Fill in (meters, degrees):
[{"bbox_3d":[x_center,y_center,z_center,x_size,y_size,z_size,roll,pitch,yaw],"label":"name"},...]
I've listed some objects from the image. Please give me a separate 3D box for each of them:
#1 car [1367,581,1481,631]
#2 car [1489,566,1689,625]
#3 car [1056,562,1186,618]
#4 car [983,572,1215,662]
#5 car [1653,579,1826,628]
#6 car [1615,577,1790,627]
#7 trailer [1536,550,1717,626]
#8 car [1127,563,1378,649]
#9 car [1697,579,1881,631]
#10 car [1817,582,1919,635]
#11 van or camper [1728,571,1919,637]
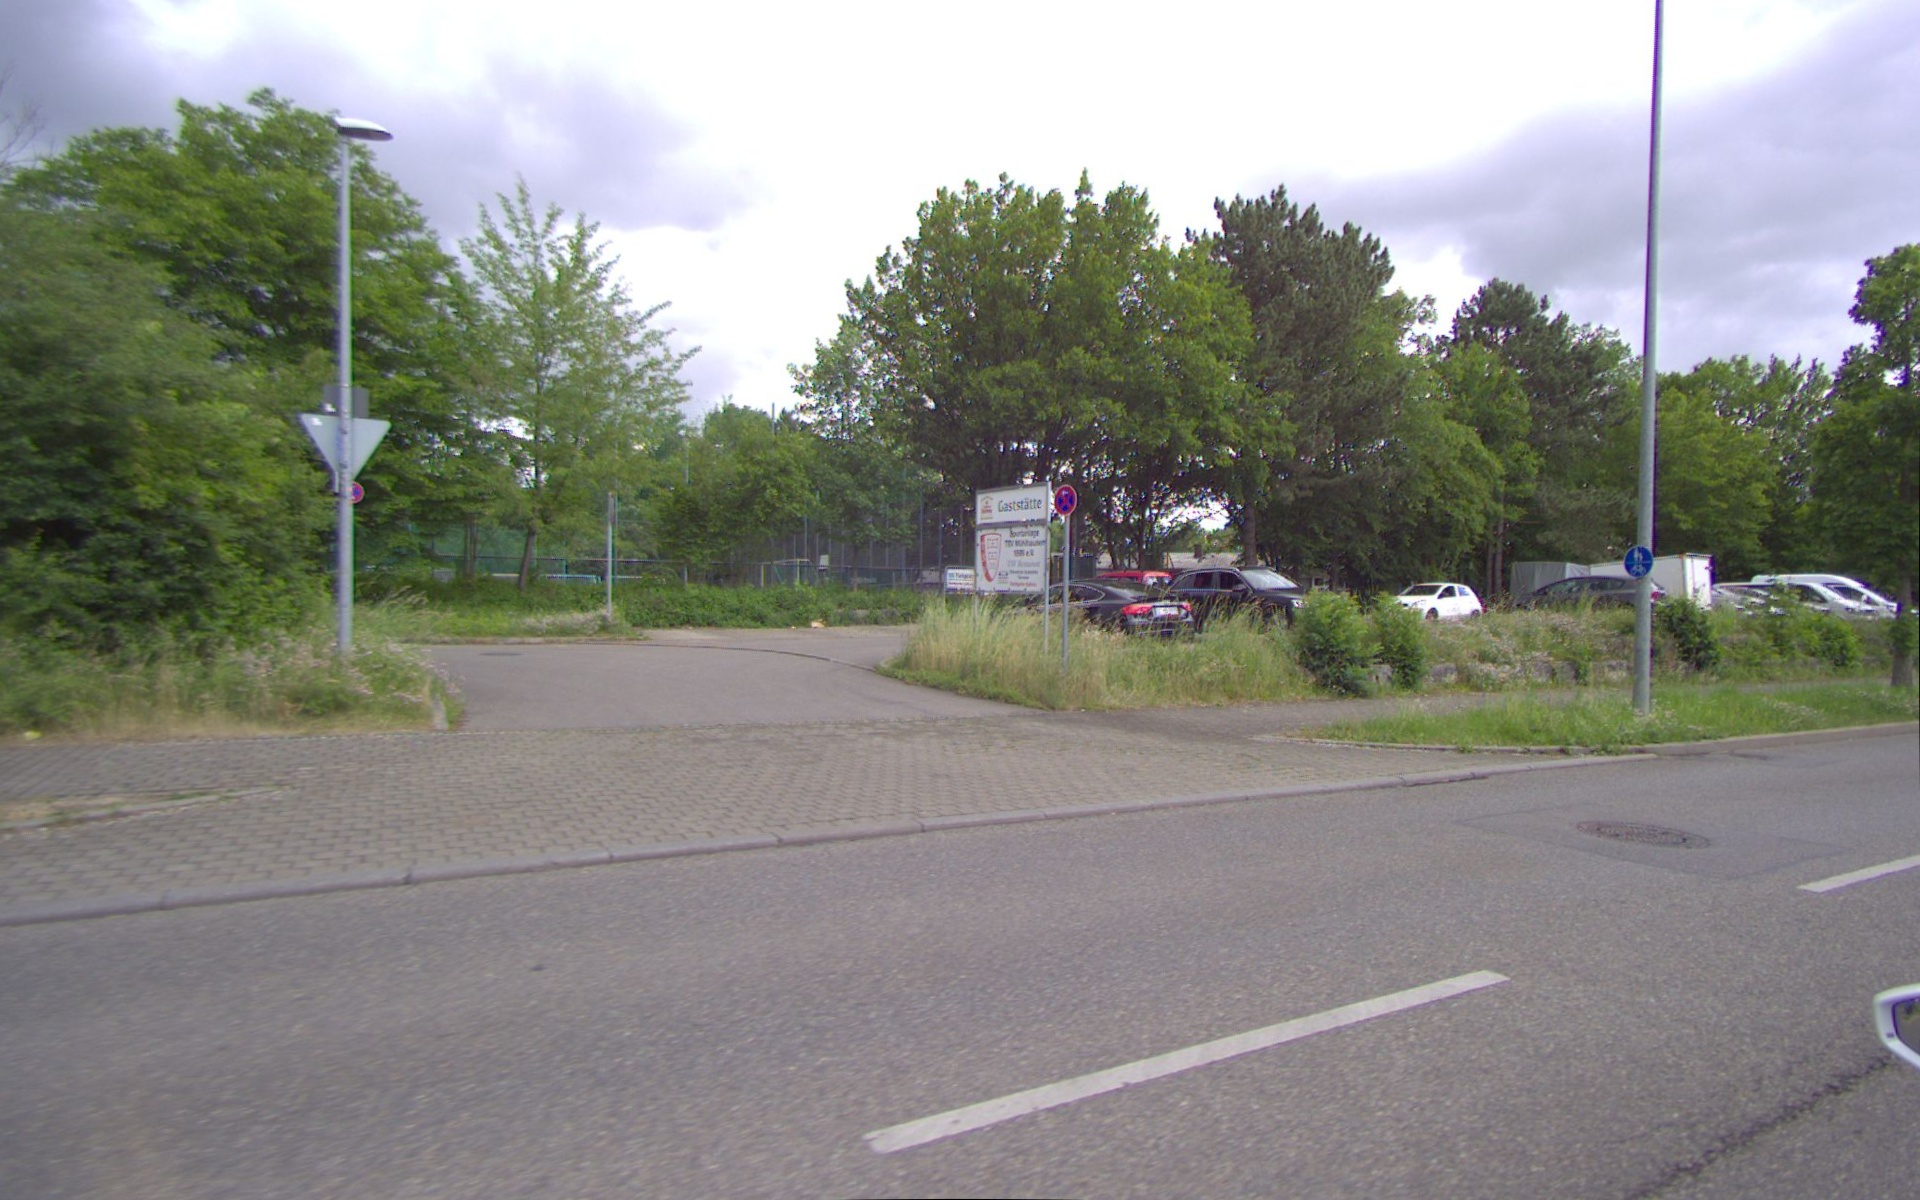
[{"bbox_3d":[15.995,0.214,34.622,3.623,1.606,1.876,1,0,-32],"label":"car"},{"bbox_3d":[17.041,-0.059,27.415,1.819,1.468,4.281,1,-2,-36],"label":"car"},{"bbox_3d":[5.229,-0.322,33.047,1.982,1.684,3.957,1,0,-37],"label":"car"},{"bbox_3d":[2.375,0.258,18.009,1.980,1.416,3.928,1,0,-35],"label":"car"},{"bbox_3d":[26.653,0.099,34.463,1.979,1.528,4.283,1,0,-34],"label":"car"},{"bbox_3d":[24.461,0.057,33.229,1.979,1.528,4.232,1,0,-34],"label":"car"},{"bbox_3d":[19.377,-0.338,29.367,1.885,2.040,3.968,1,0,-30],"label":"trailer"},{"bbox_3d":[6.059,0.099,21.447,2.184,1.606,4.895,1,0,-34],"label":"car"},{"bbox_3d":[29.296,0.150,35.684,1.973,1.678,4.627,1,0,-26],"label":"car"},{"bbox_3d":[37.483,0.332,40.545,1.977,2.040,3.967,1,0,-30],"label":"car"},{"bbox_3d":[31.633,0.089,36.677,1.979,2.232,5.301,1,1,-33],"label":"van or camper"}]
